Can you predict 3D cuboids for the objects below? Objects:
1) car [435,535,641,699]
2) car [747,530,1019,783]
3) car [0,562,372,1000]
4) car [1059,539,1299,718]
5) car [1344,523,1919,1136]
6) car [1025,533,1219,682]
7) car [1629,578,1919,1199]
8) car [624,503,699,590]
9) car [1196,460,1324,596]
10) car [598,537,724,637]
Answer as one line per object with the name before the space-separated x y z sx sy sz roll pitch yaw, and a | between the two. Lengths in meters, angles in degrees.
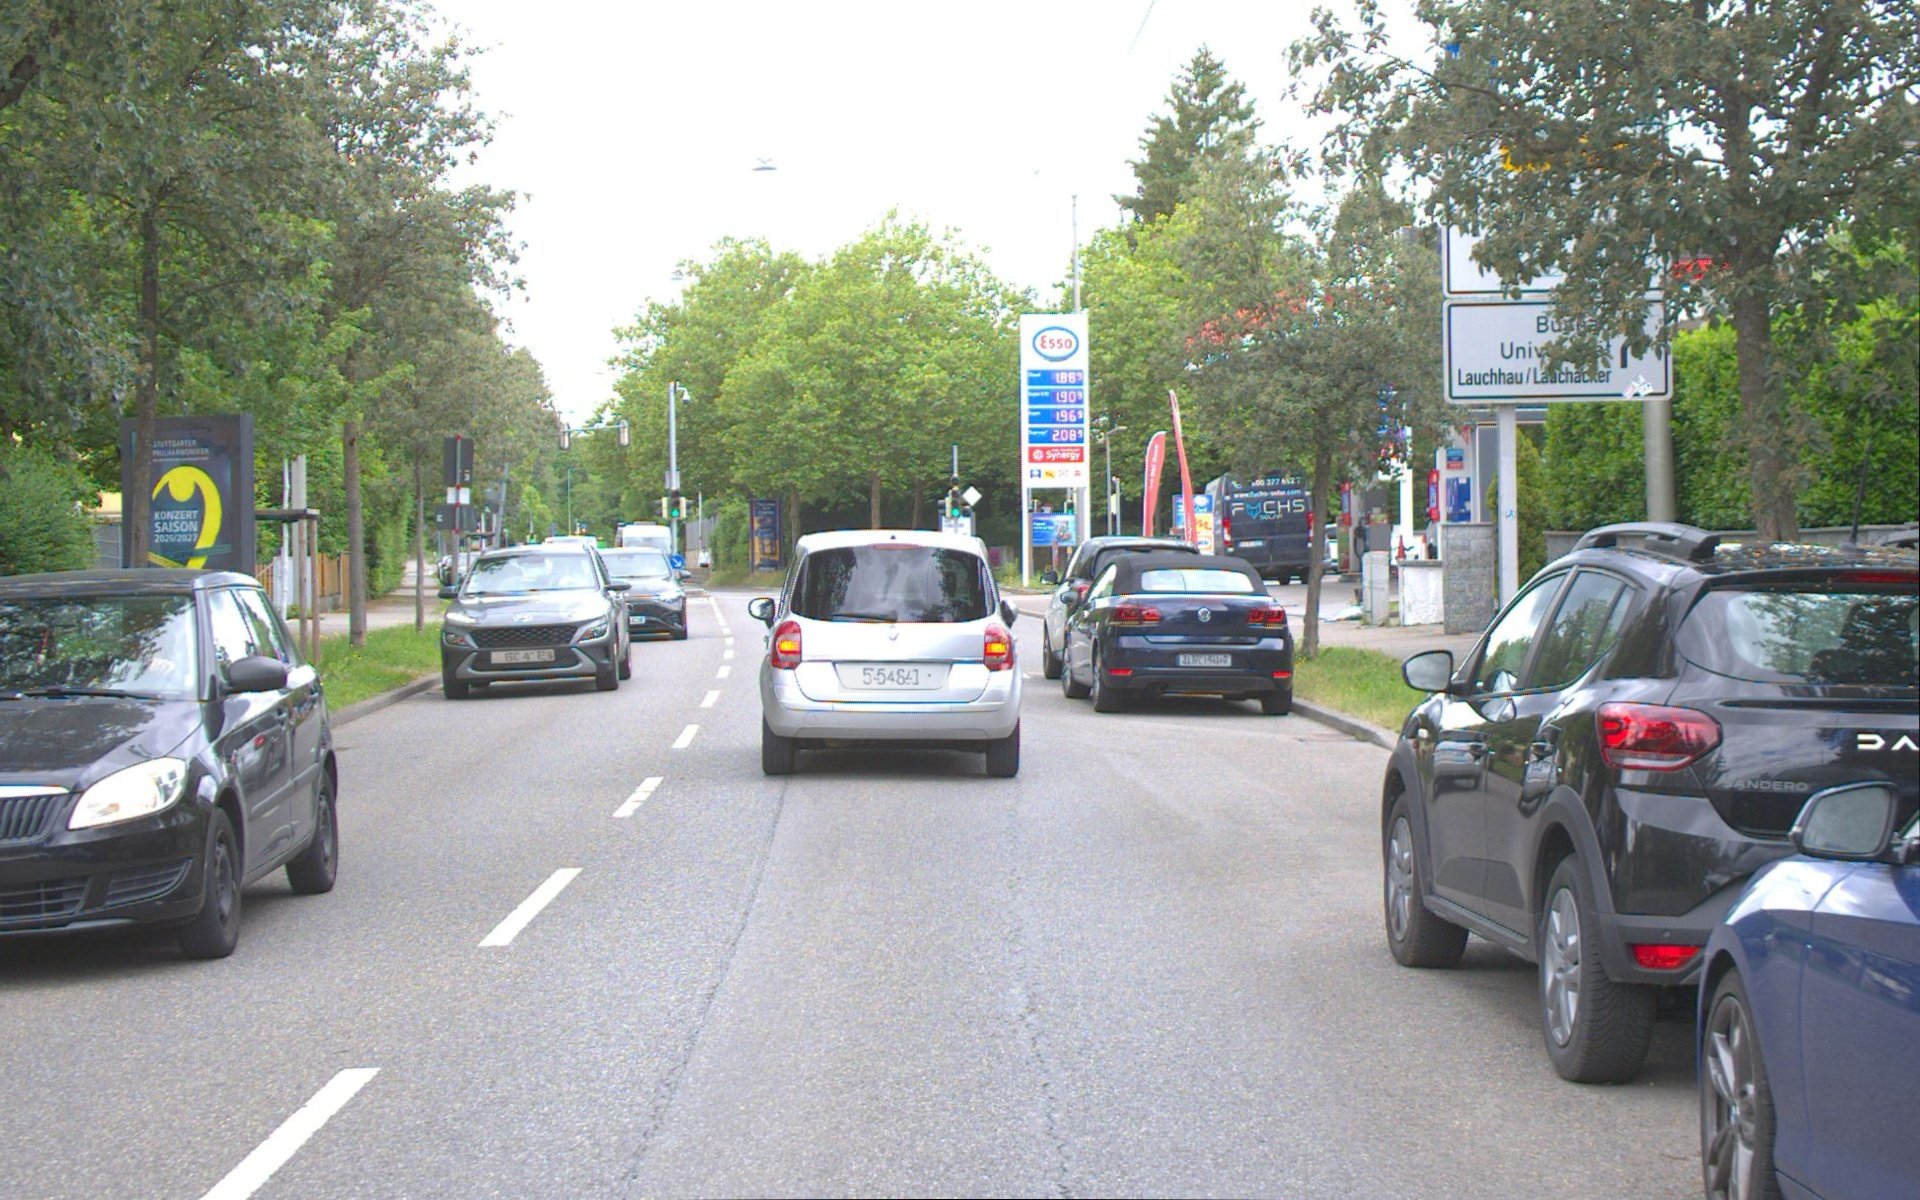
car | -4.449 0.142 36.684 1.793 1.550 3.672 -3 1 -2
car | -0.517 0.314 23.020 1.679 1.554 3.512 0 1 -1
car | -3.504 0.633 13.906 1.545 1.465 3.742 -3 1 0
car | 1.937 0.208 31.438 1.695 1.501 3.973 -1 1 -3
car | 2.411 0.560 10.997 1.695 1.565 3.956 -2 1 -3
car | 1.692 0.045 36.969 1.695 1.501 3.645 -1 1 -3
car | 2.428 0.713 5.736 1.696 1.428 4.340 0 1 -1
car | -8.404 -1.520 96.927 1.934 2.400 4.001 -1 1 -3
car | 6.645 -1.605 76.642 2.281 2.901 5.280 1 1 -1
car | -4.691 -0.233 54.300 1.695 1.501 3.645 -1 1 -1
